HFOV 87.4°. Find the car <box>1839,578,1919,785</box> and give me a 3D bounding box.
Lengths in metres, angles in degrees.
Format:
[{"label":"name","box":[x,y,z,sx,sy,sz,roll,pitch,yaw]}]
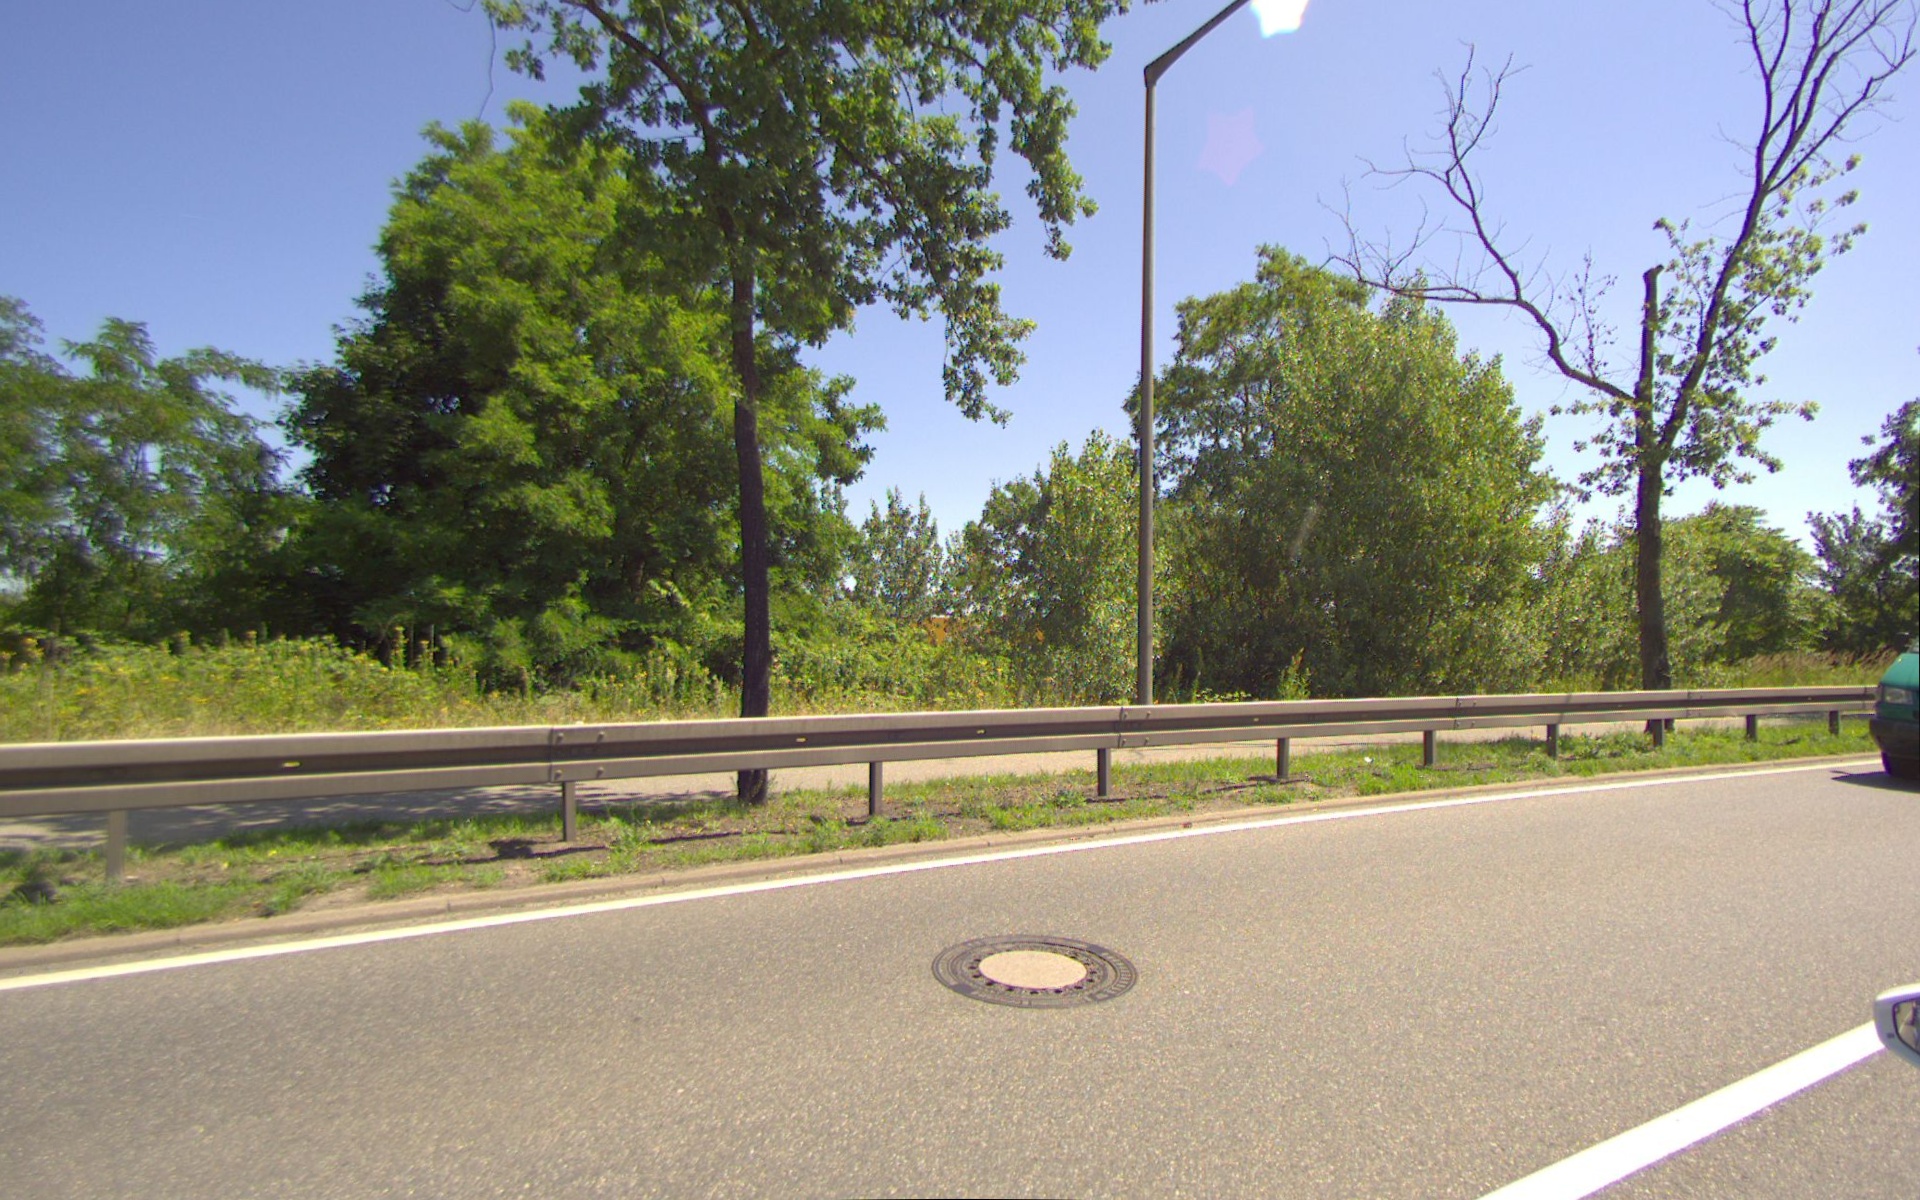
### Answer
[{"label":"car","box":[11.328,0.826,10.320,4.713,1.964,1.824,1,-1,-27]}]
